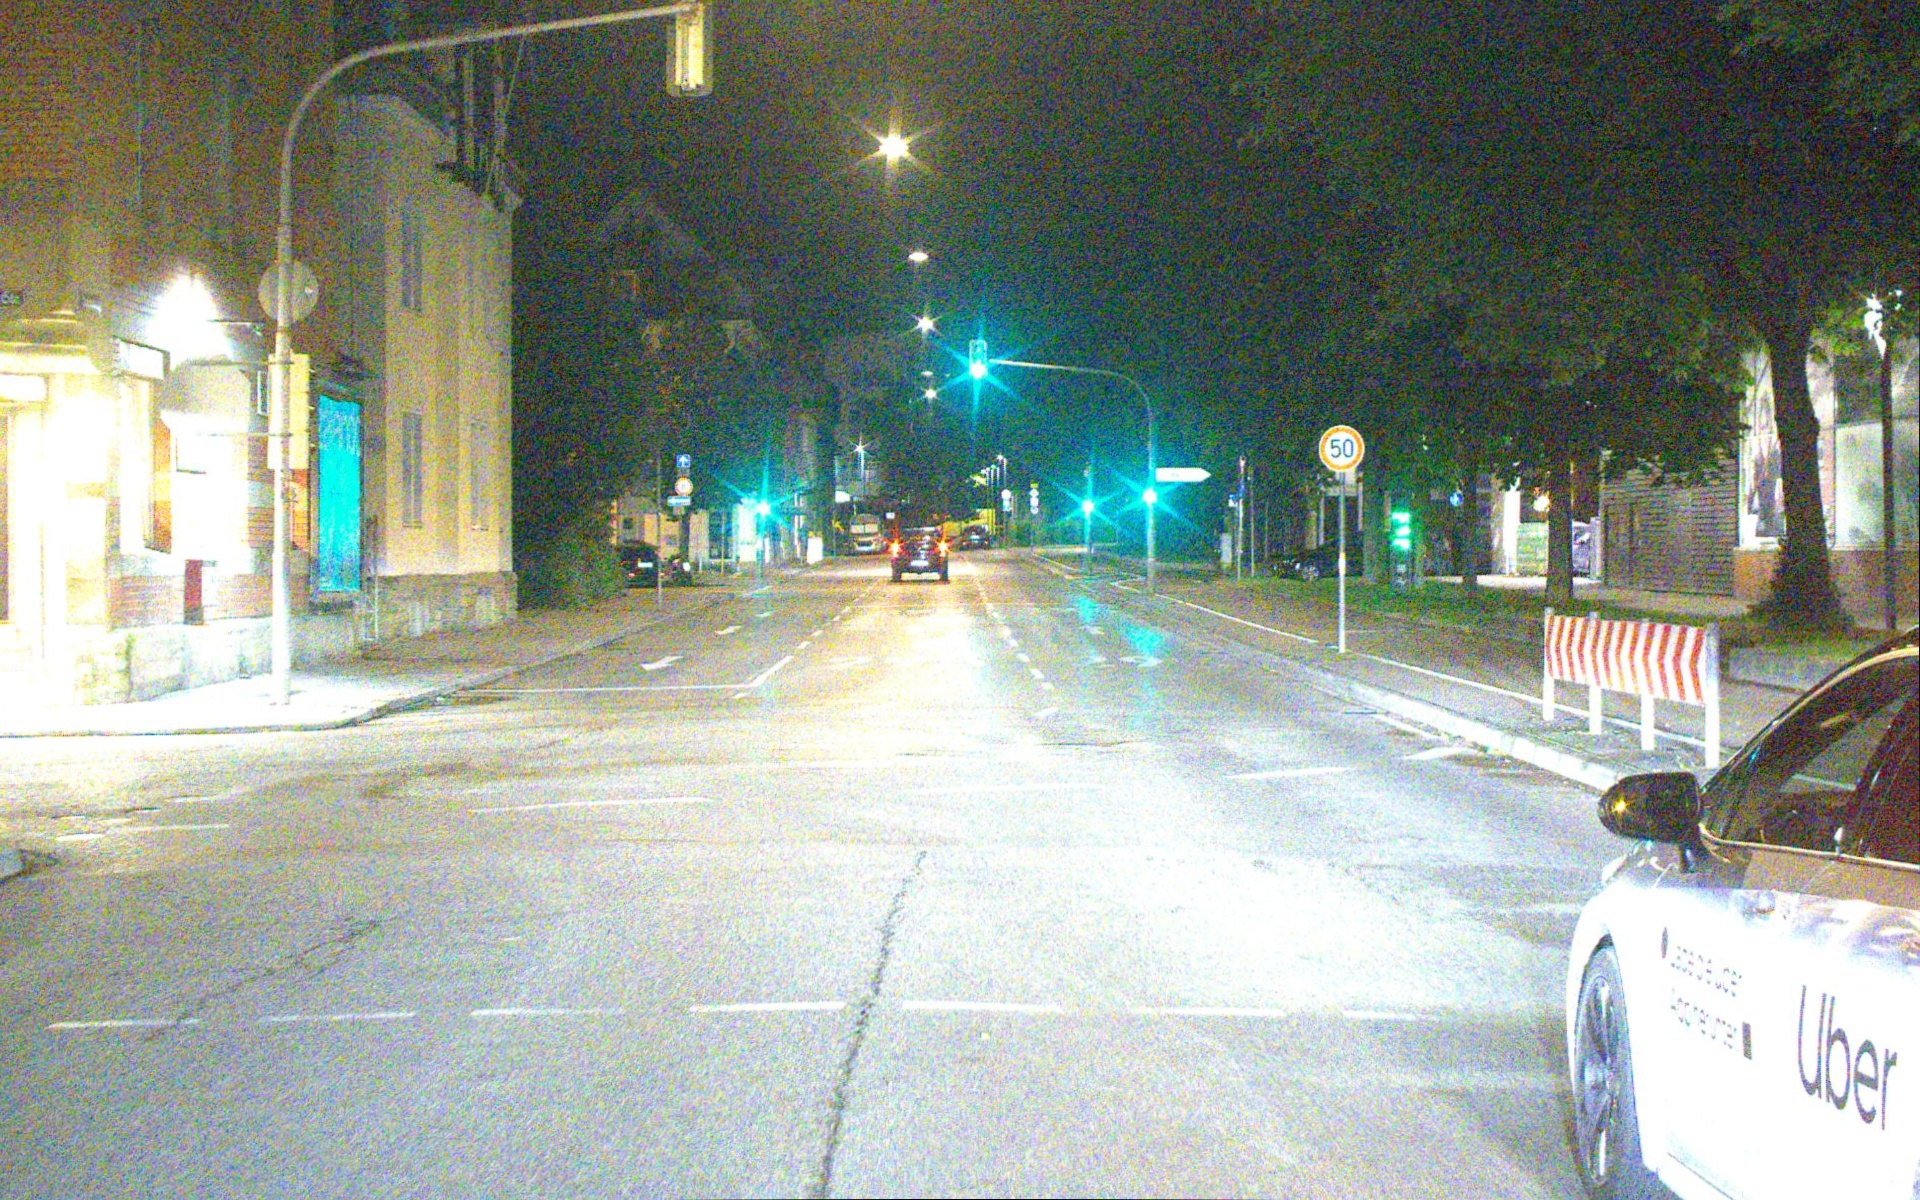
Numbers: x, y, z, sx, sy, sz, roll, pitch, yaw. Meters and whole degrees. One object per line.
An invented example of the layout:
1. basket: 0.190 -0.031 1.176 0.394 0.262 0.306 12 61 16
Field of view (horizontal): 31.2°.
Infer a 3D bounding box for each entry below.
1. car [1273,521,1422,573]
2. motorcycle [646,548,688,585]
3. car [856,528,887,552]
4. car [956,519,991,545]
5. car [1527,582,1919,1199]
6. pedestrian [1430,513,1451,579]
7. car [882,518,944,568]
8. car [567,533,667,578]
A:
1. car: 10.764 -1.481 95.758 3.987 1.382 1.771 -1 1 3
2. motorcycle: -9.751 -1.114 114.358 0.781 1.200 2.450 -1 1 -19
3. car: -5.372 -3.662 208.729 1.777 1.385 4.001 -1 1 -2
4. car: 0.865 -4.409 223.150 1.993 1.590 4.001 -1 1 -3
5. car: 2.305 0.732 6.170 1.729 1.430 4.211 1 1 -2
6. pedestrian: 14.643 -1.651 104.838 0.531 2.007 0.670 -1 1 -1
7. car: -1.622 -1.939 117.162 1.993 1.634 4.000 0 1 -2
8. car: -11.716 -1.507 117.170 1.803 1.481 4.000 -2 2 -32
